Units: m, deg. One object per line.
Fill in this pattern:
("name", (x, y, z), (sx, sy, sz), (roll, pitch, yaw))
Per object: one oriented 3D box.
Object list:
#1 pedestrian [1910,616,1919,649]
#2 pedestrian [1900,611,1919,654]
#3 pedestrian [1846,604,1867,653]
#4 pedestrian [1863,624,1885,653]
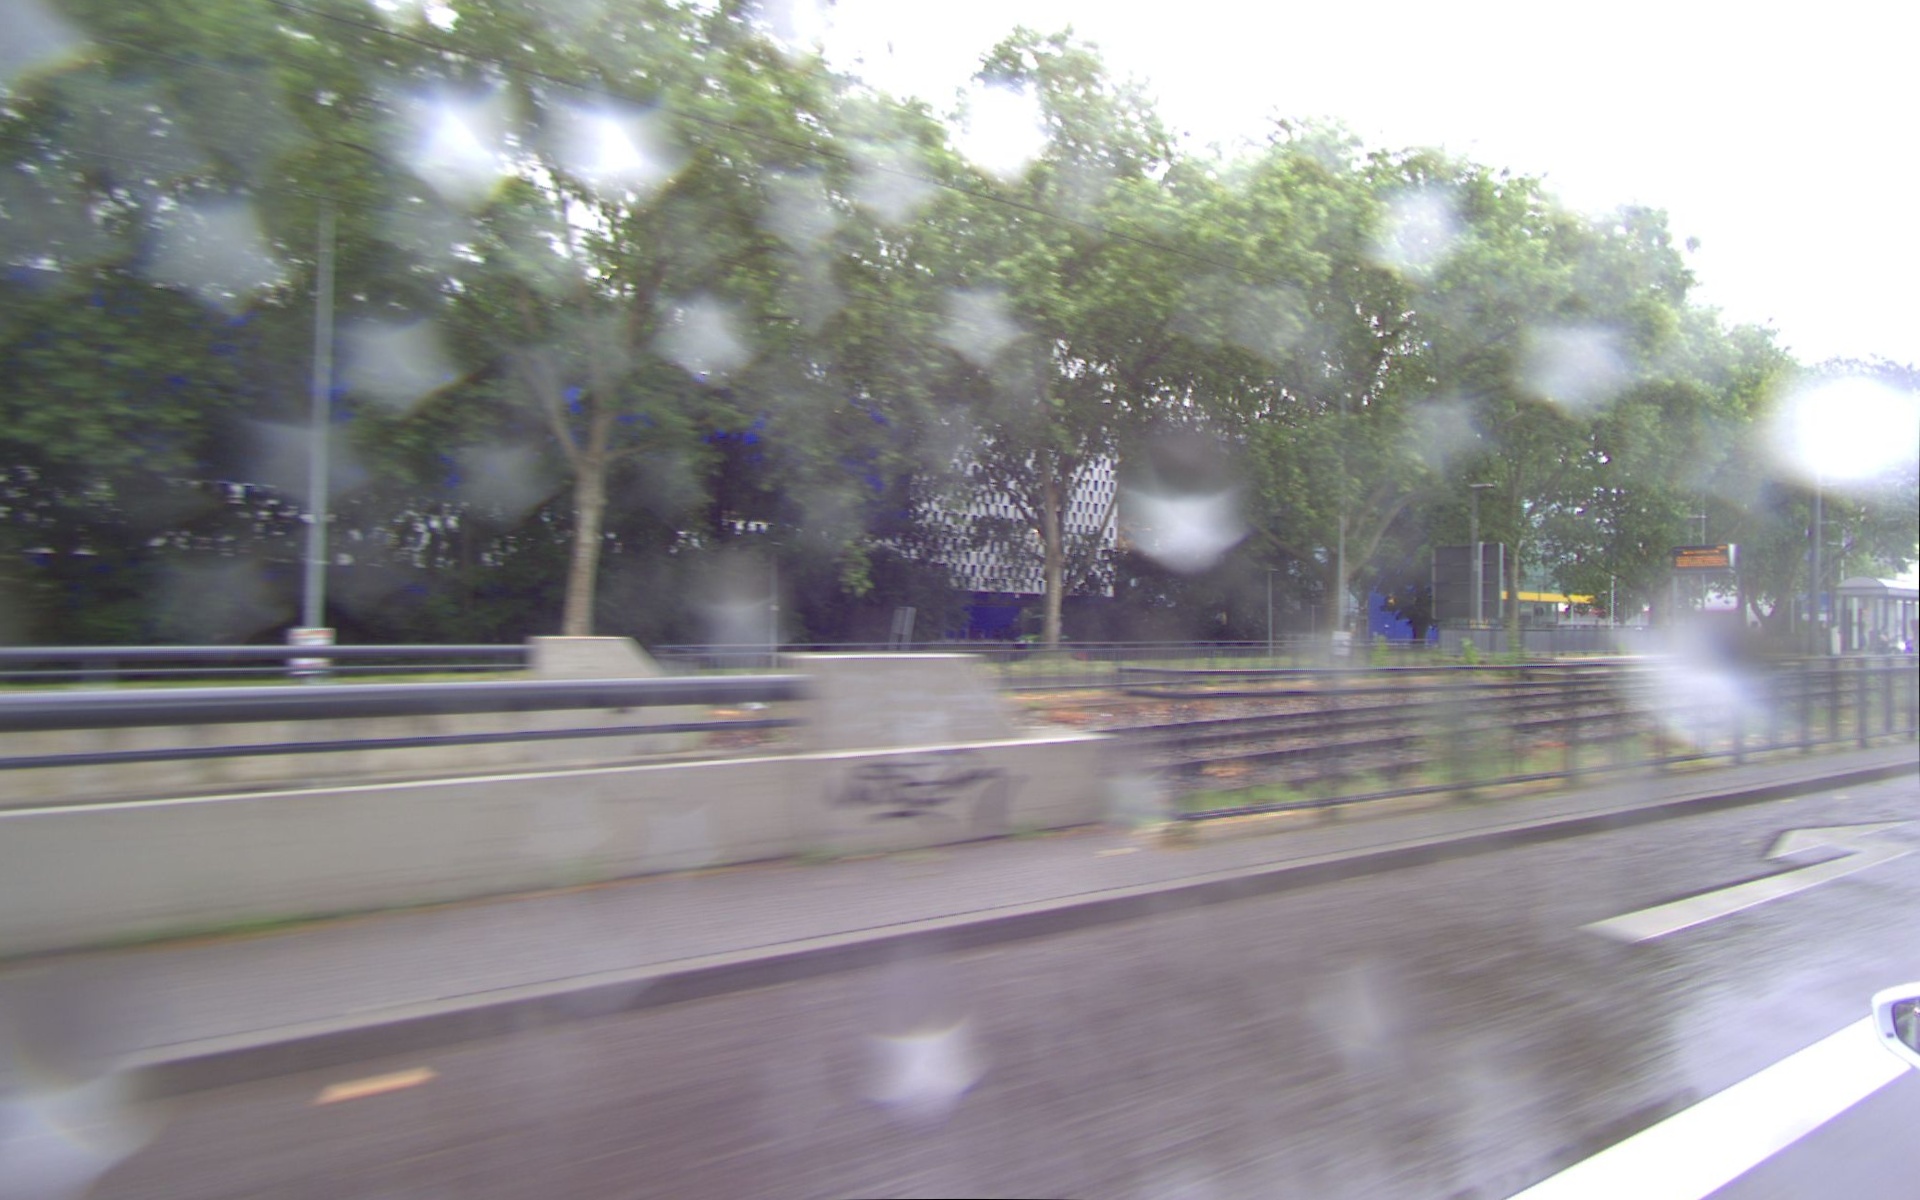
("pedestrian", (46.287, 1.567, 48.243), (0.814, 1.582, 0.671), (2, 1, 34))
("pedestrian", (43.844, 1.496, 46.212), (0.804, 1.959, 0.619), (1, 1, -27))
("pedestrian", (38.233, 1.209, 42.833), (0.576, 2.040, 0.491), (1, 1, -30))
("pedestrian", (40.211, 1.691, 44.188), (0.655, 1.284, 0.491), (1, 0, -27))
